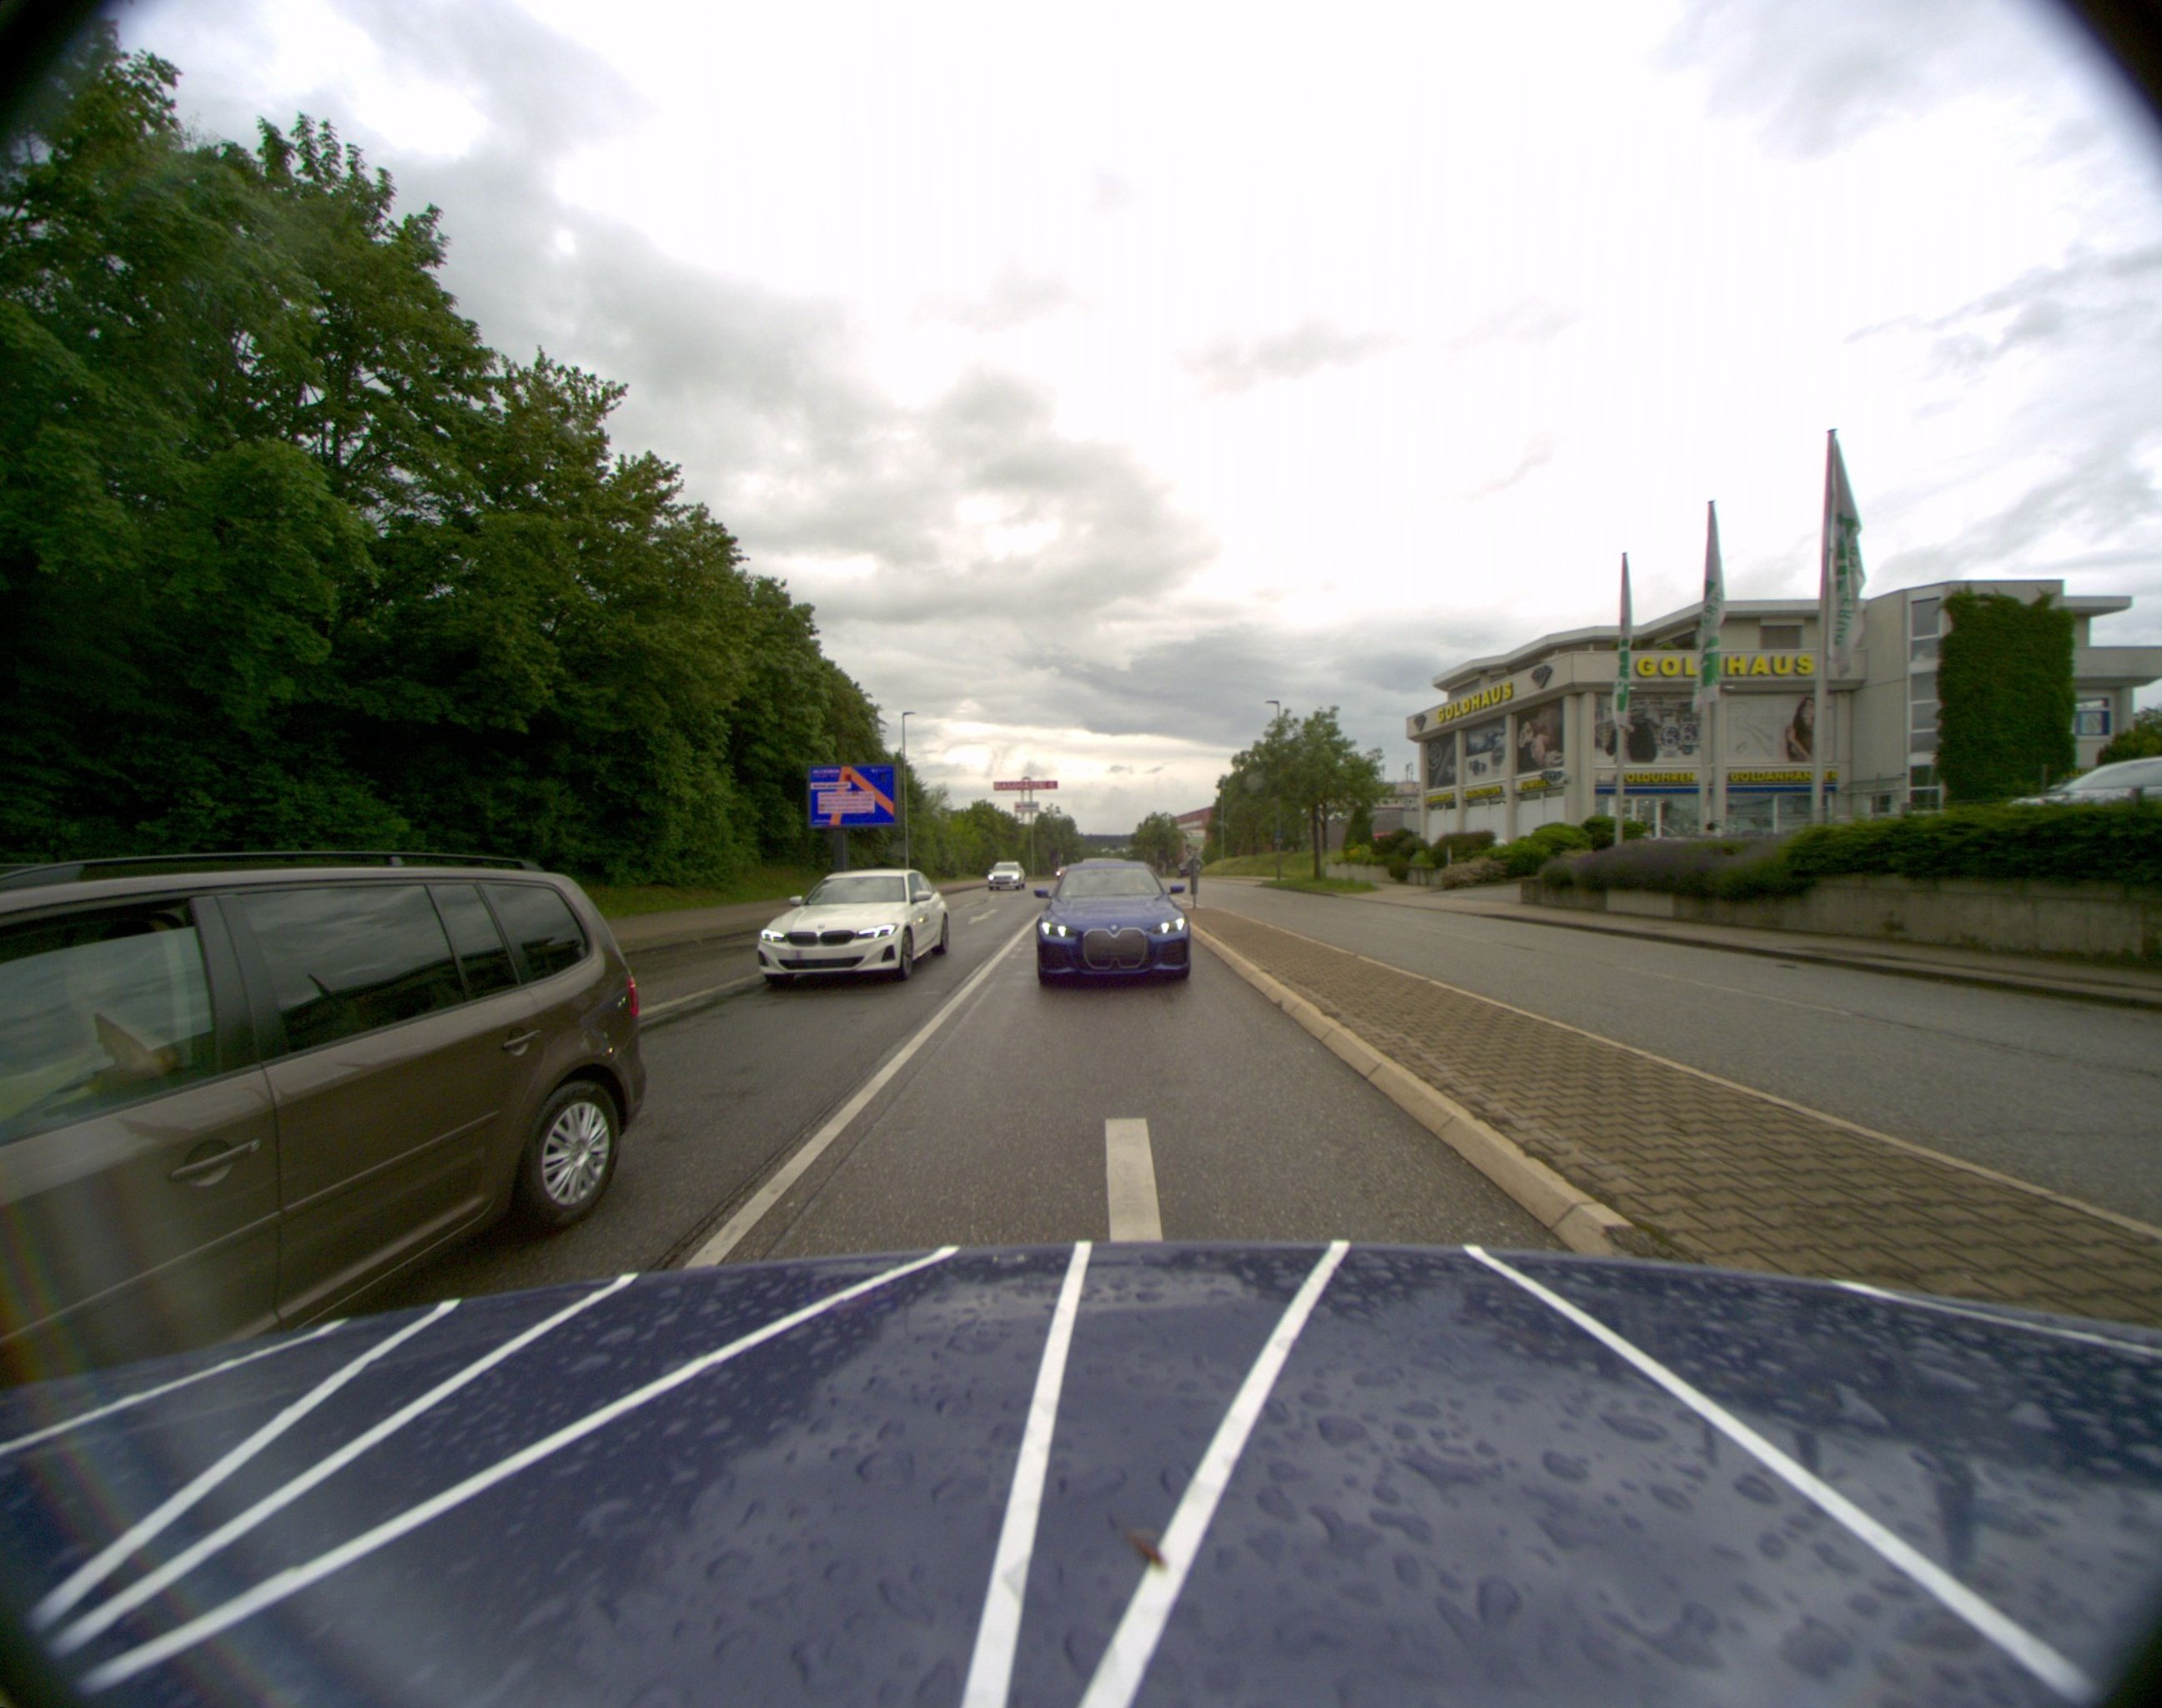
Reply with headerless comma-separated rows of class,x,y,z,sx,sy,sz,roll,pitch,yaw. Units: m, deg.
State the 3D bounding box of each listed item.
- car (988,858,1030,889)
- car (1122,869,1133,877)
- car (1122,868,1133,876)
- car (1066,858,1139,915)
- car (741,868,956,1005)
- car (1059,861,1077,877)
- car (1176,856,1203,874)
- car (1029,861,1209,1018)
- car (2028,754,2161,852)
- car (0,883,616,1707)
car,-4.301,1.126,45.920,1.998,1.717,4.317,-1,0,1
car,9.868,4.000,161.572,1.998,1.586,4.001,-1,-2,1
car,9.029,3.454,147.082,1.998,1.586,4.001,-1,-2,1
car,0.674,0.929,23.654,1.998,1.456,4.367,-2,1,2
car,-3.160,1.031,11.420,1.784,1.448,4.679,-2,1,-1
car,-1.278,1.453,75.017,1.634,1.448,3.537,-2,1,-1
car,11.727,1.257,82.483,2.350,1.879,4.546,-1,-2,1
car,0.357,0.894,10.021,1.784,1.448,4.596,-2,1,-1
car,16.386,-0.717,11.030,3.394,1.329,1.454,-1,0,2
car,-3.125,0.988,1.578,1.751,1.600,3.980,-2,1,1
